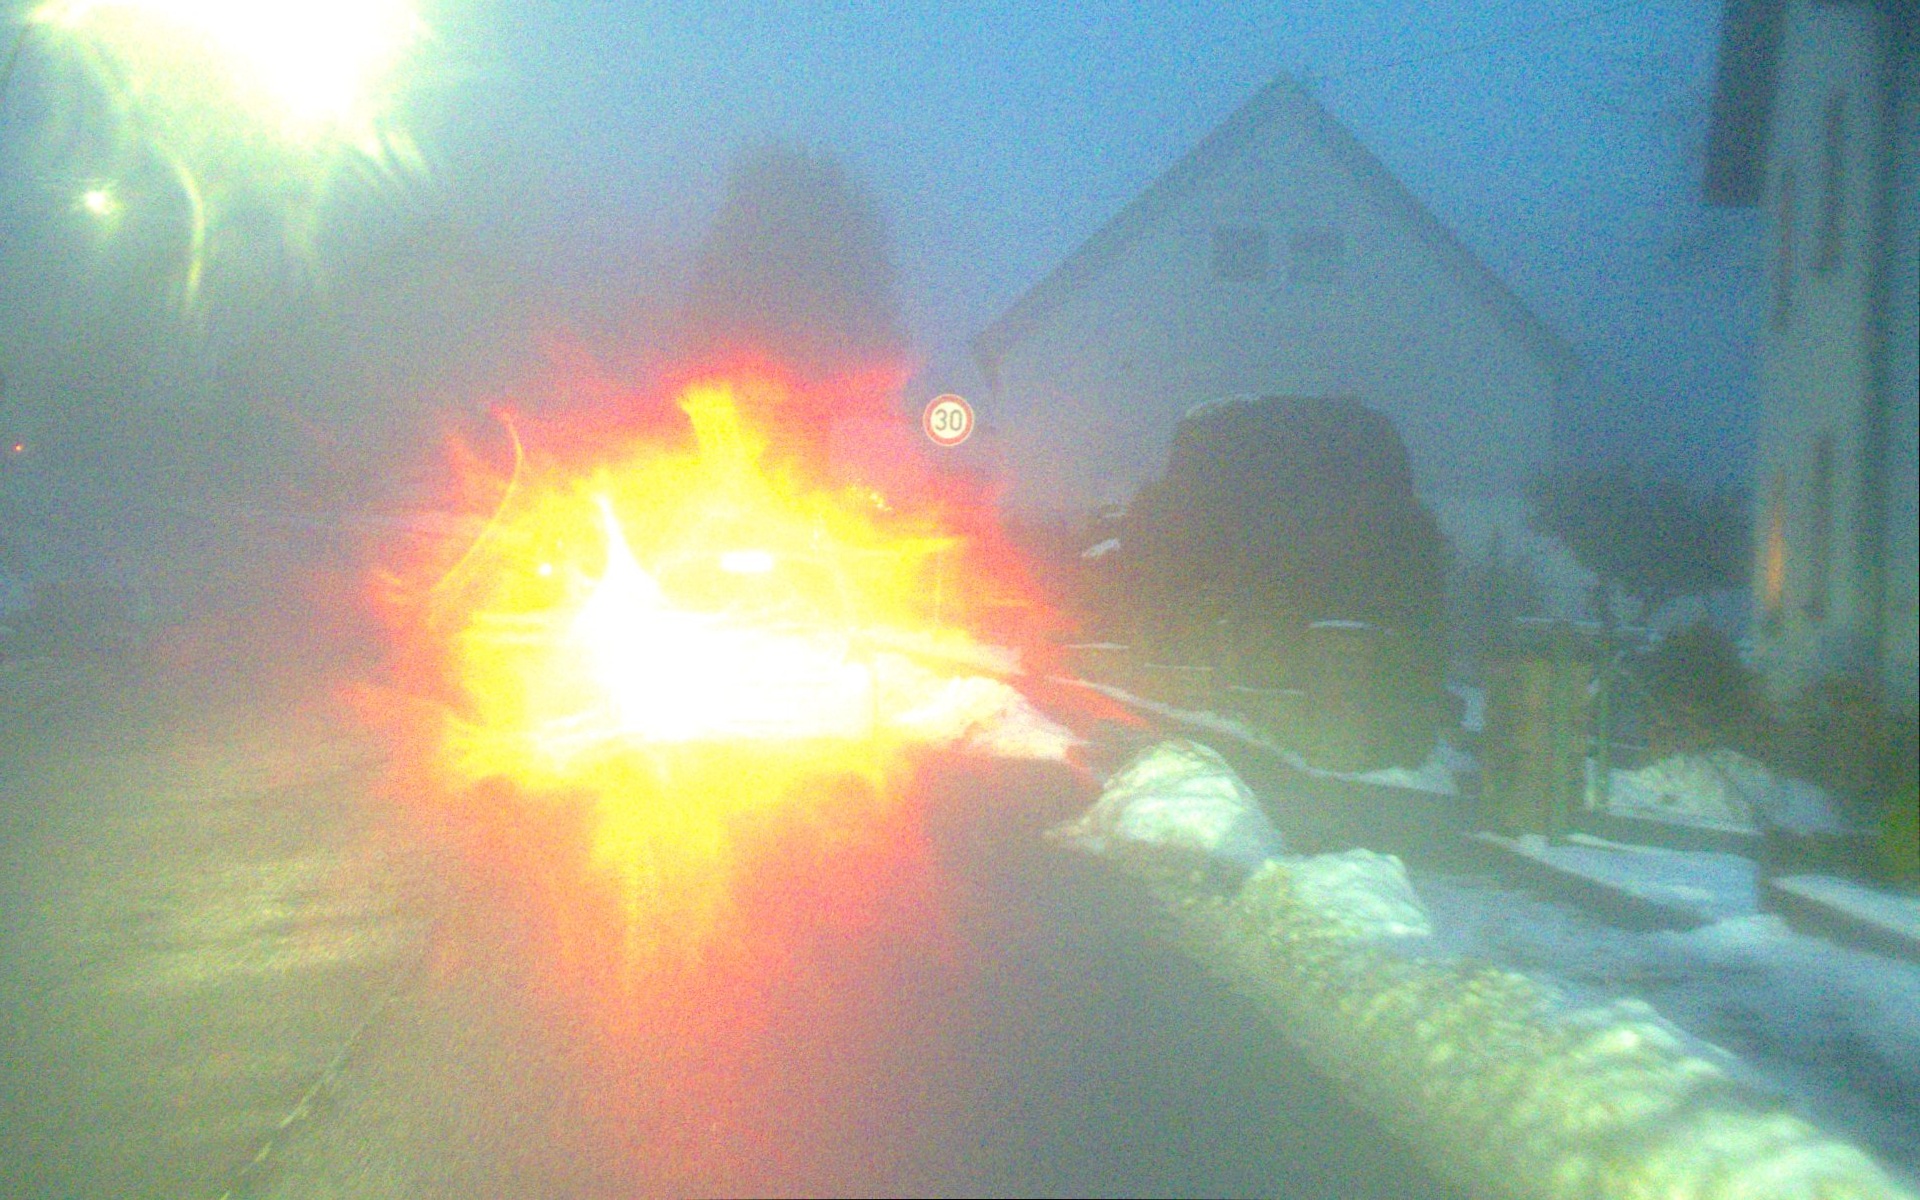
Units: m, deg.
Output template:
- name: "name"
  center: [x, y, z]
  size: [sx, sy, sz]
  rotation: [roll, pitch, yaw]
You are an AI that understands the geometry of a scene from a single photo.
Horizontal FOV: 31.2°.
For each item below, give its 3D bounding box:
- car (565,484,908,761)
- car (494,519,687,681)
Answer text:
- name: "car"
  center: [-1.538, 0.138, 22.255]
  size: [1.897, 1.604, 4.001]
  rotation: [1, 0, -8]
- name: "car"
  center: [-4.252, 0.004, 39.101]
  size: [1.993, 1.731, 3.879]
  rotation: [1, 0, -9]
